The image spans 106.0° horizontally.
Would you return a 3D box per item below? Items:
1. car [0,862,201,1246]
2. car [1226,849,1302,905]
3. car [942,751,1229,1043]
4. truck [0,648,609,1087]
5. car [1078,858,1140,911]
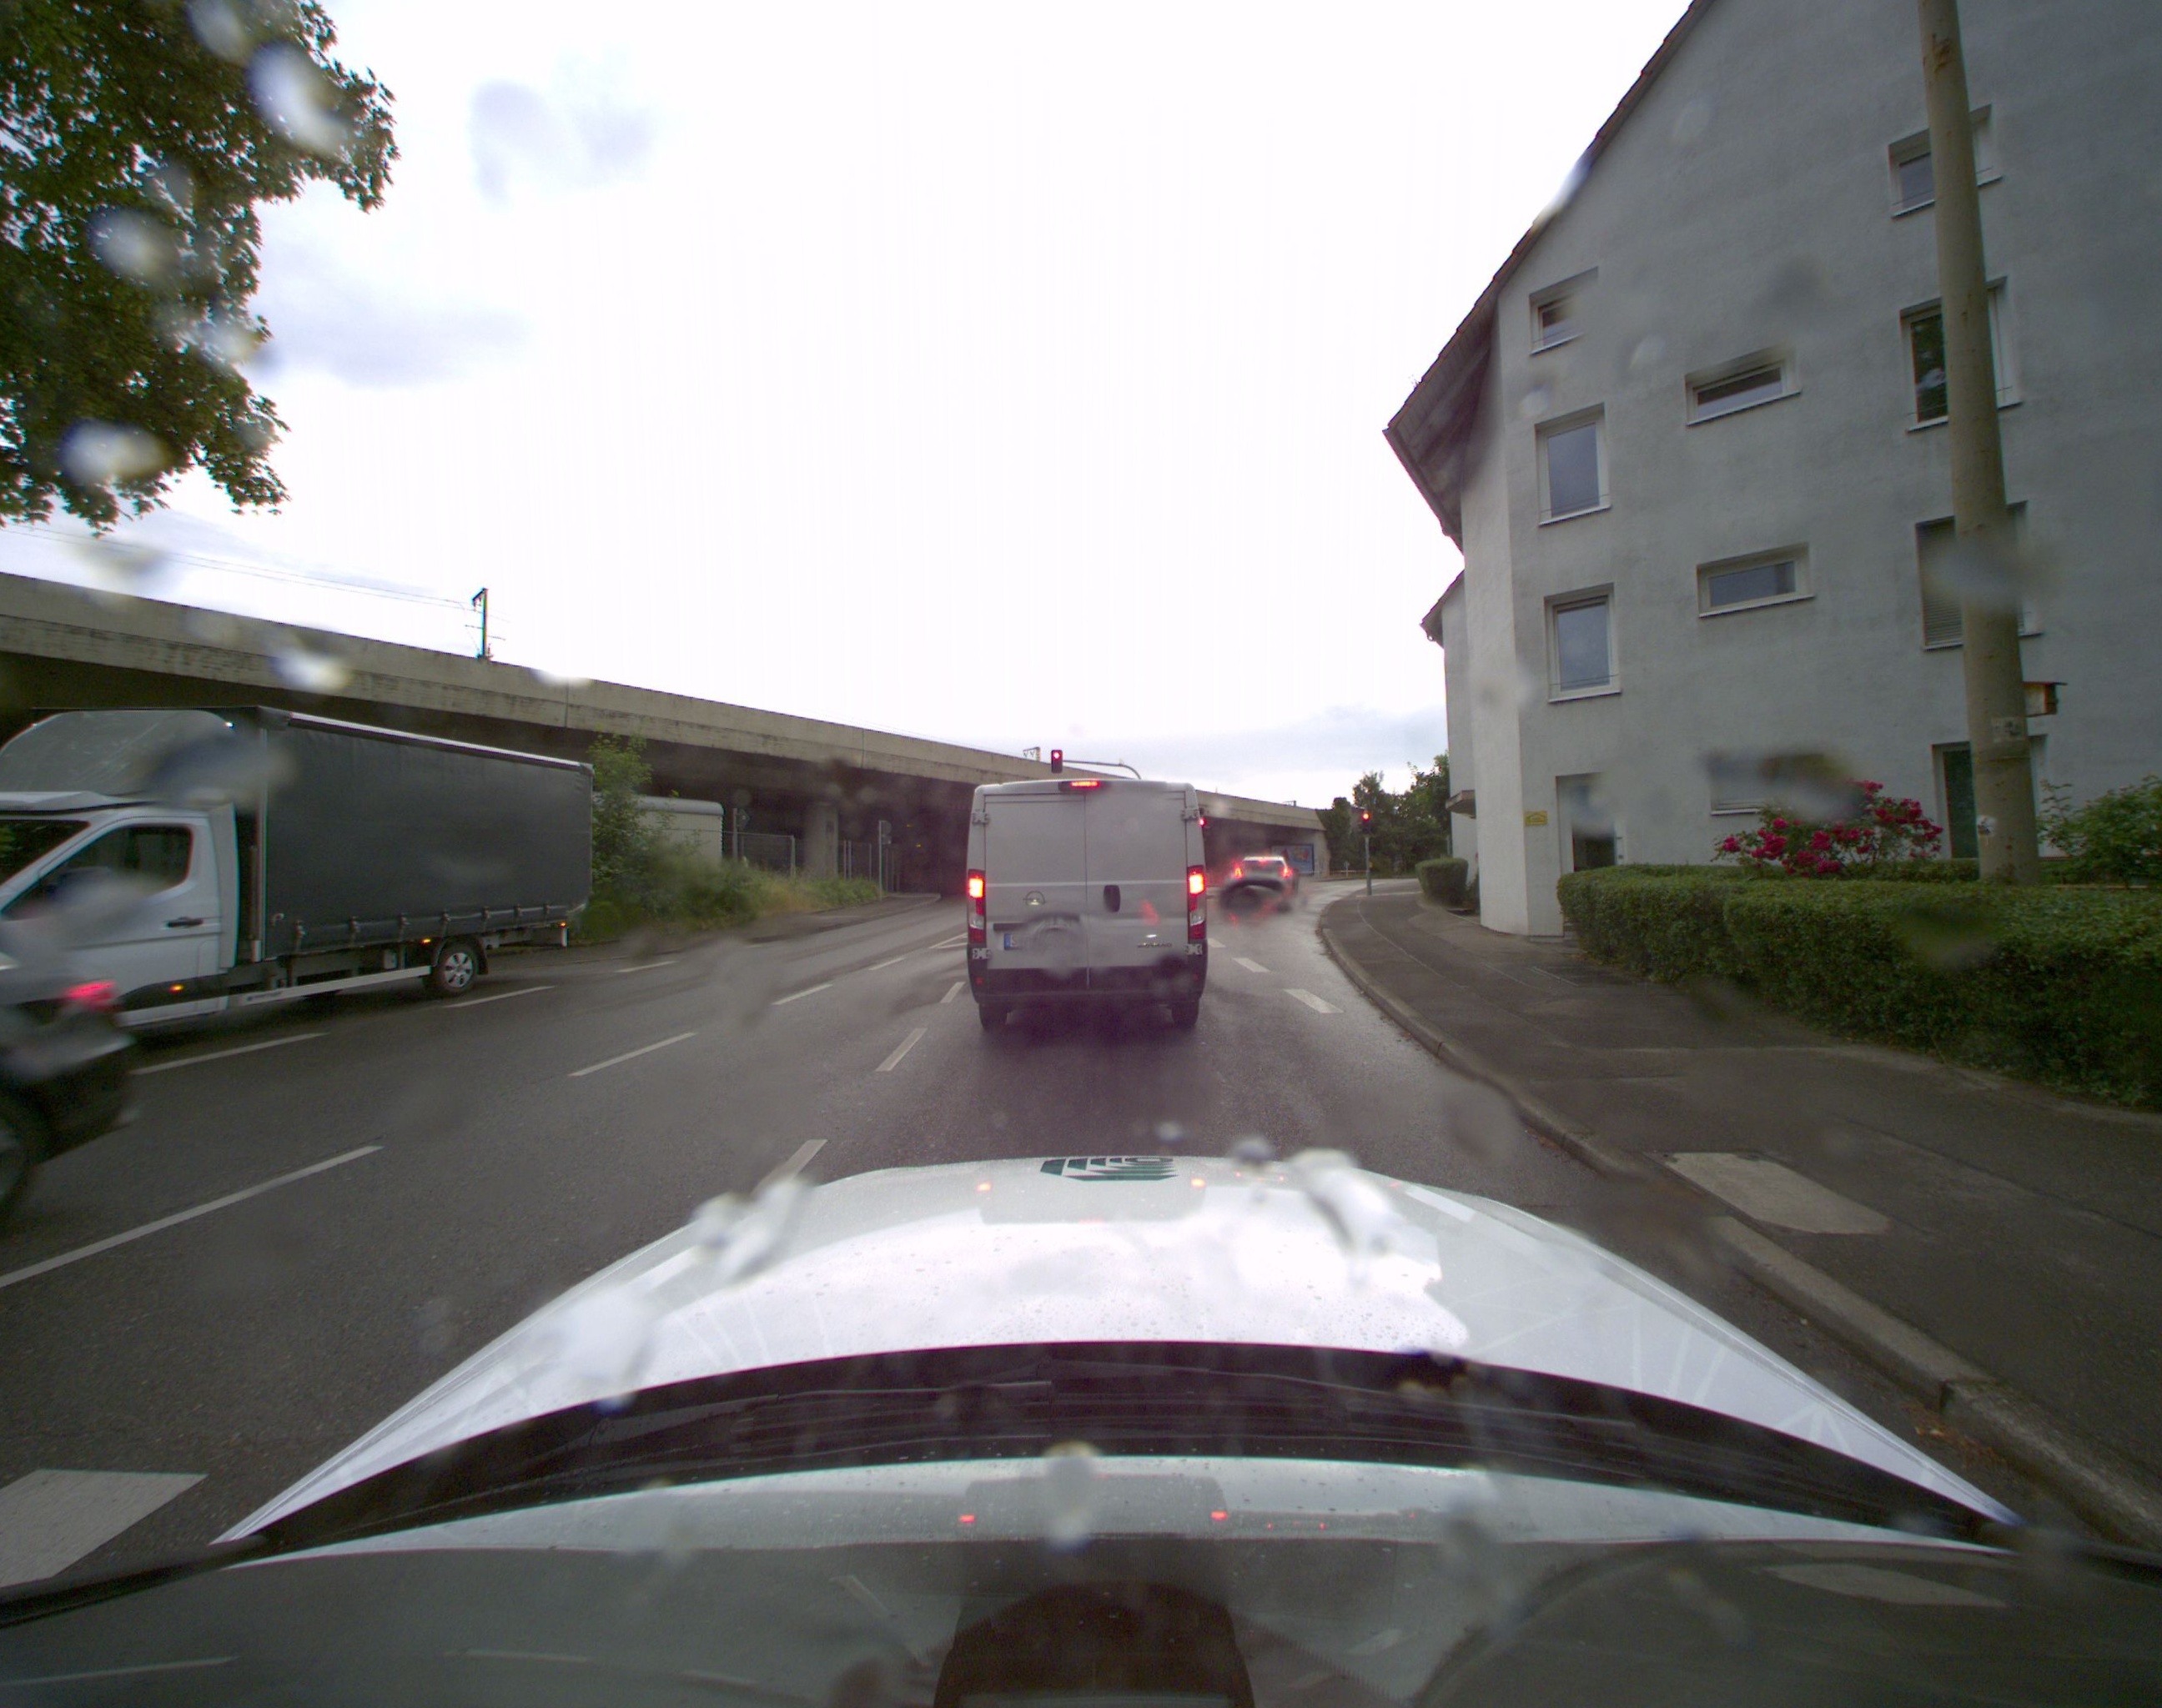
[{"bbox_3d":[-5.605,0.851,2.025,1.907,1.626,4.436,-1,-1,2],"label":"car"},{"bbox_3d":[5.751,0.705,25.232,1.978,1.549,4.017,-1,-2,17],"label":"car"},{"bbox_3d":[0.092,0.375,9.257,2.297,2.343,5.283,-1,-1,1],"label":"car"},{"bbox_3d":[-9.075,0.175,9.182,2.599,3.237,7.782,-1,-1,3],"label":"truck"},{"bbox_3d":[1.069,1.071,28.977,1.984,1.729,4.004,-1,-2,5],"label":"car"}]
